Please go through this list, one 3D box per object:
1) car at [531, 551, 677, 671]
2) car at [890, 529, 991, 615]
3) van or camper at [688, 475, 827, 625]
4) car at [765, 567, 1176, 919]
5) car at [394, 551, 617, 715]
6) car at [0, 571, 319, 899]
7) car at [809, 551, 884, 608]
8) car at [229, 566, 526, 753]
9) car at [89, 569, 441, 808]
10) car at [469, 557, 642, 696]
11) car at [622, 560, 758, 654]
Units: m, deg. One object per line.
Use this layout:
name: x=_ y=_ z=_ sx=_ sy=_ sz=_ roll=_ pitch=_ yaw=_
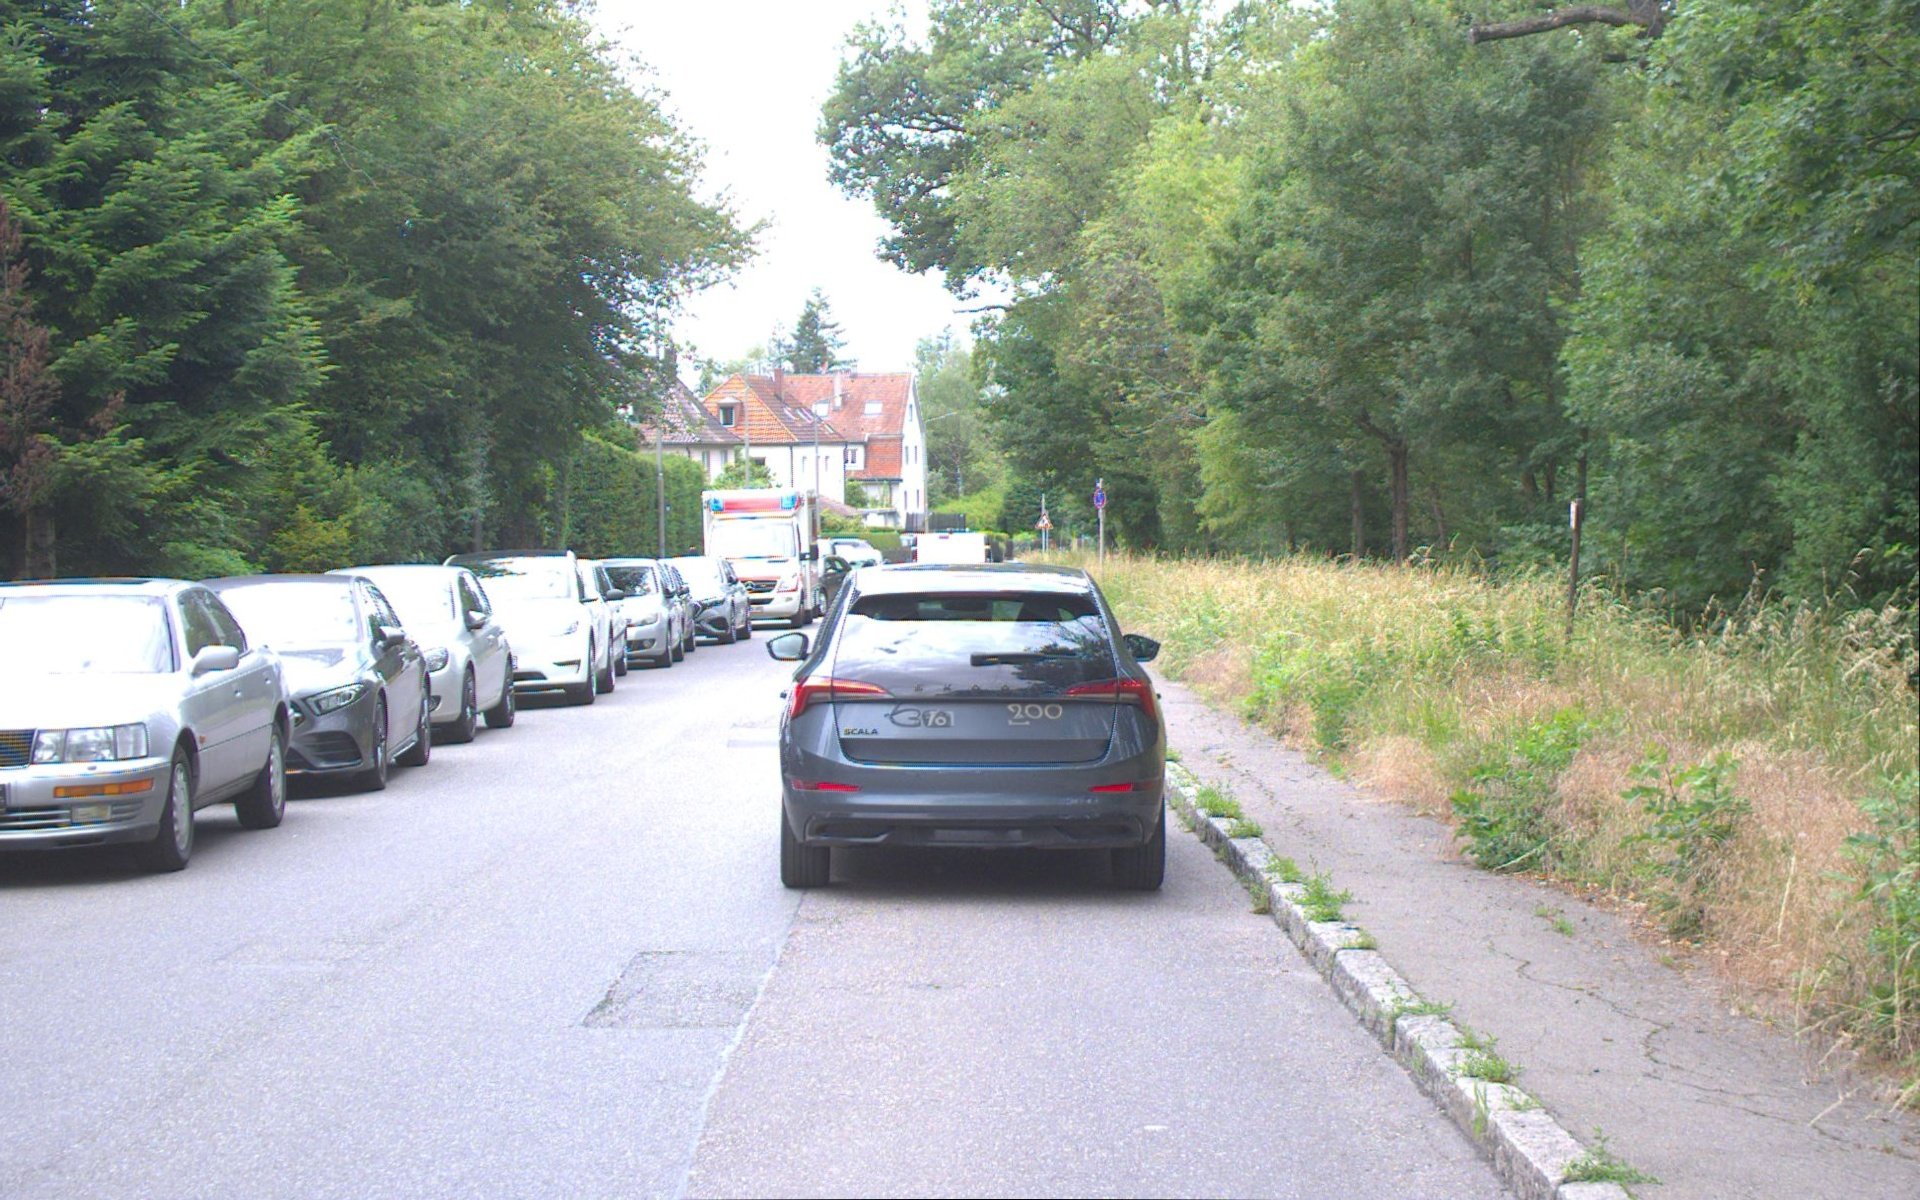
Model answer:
car: x=-4.825 y=0.125 z=47.028 sx=1.720 sy=1.499 sz=4.008 roll=-3 pitch=1 yaw=-3
car: x=-0.487 y=-0.671 z=79.263 sx=2.071 sy=1.915 sz=4.923 roll=0 pitch=1 yaw=-3
van or camper: x=-4.087 y=-1.029 z=70.625 sx=2.456 sy=2.885 sz=7.168 roll=-1 pitch=1 yaw=-1
car: x=-0.068 y=0.585 z=16.647 sx=1.727 sy=1.434 sz=4.324 roll=0 pitch=1 yaw=-3
car: x=-4.784 y=0.297 z=36.757 sx=1.916 sy=1.556 sz=4.604 roll=-3 pitch=1 yaw=-3
car: x=-4.652 y=0.599 z=17.853 sx=1.848 sy=1.434 sz=4.911 roll=-1 pitch=1 yaw=-2
car: x=-3.018 y=-0.571 z=91.919 sx=1.763 sy=1.441 sz=4.473 roll=-1 pitch=1 yaw=1
car: x=-4.929 y=0.456 z=29.625 sx=1.834 sy=1.434 sz=4.117 roll=-2 pitch=1 yaw=0
car: x=-4.673 y=0.532 z=23.672 sx=1.734 sy=1.434 sz=4.263 roll=-1 pitch=1 yaw=-3
car: x=-4.823 y=0.279 z=41.391 sx=1.720 sy=1.499 sz=3.817 roll=-3 pitch=1 yaw=-2
car: x=-4.651 y=0.090 z=59.857 sx=1.798 sy=1.499 sz=4.863 roll=-2 pitch=1 yaw=2
